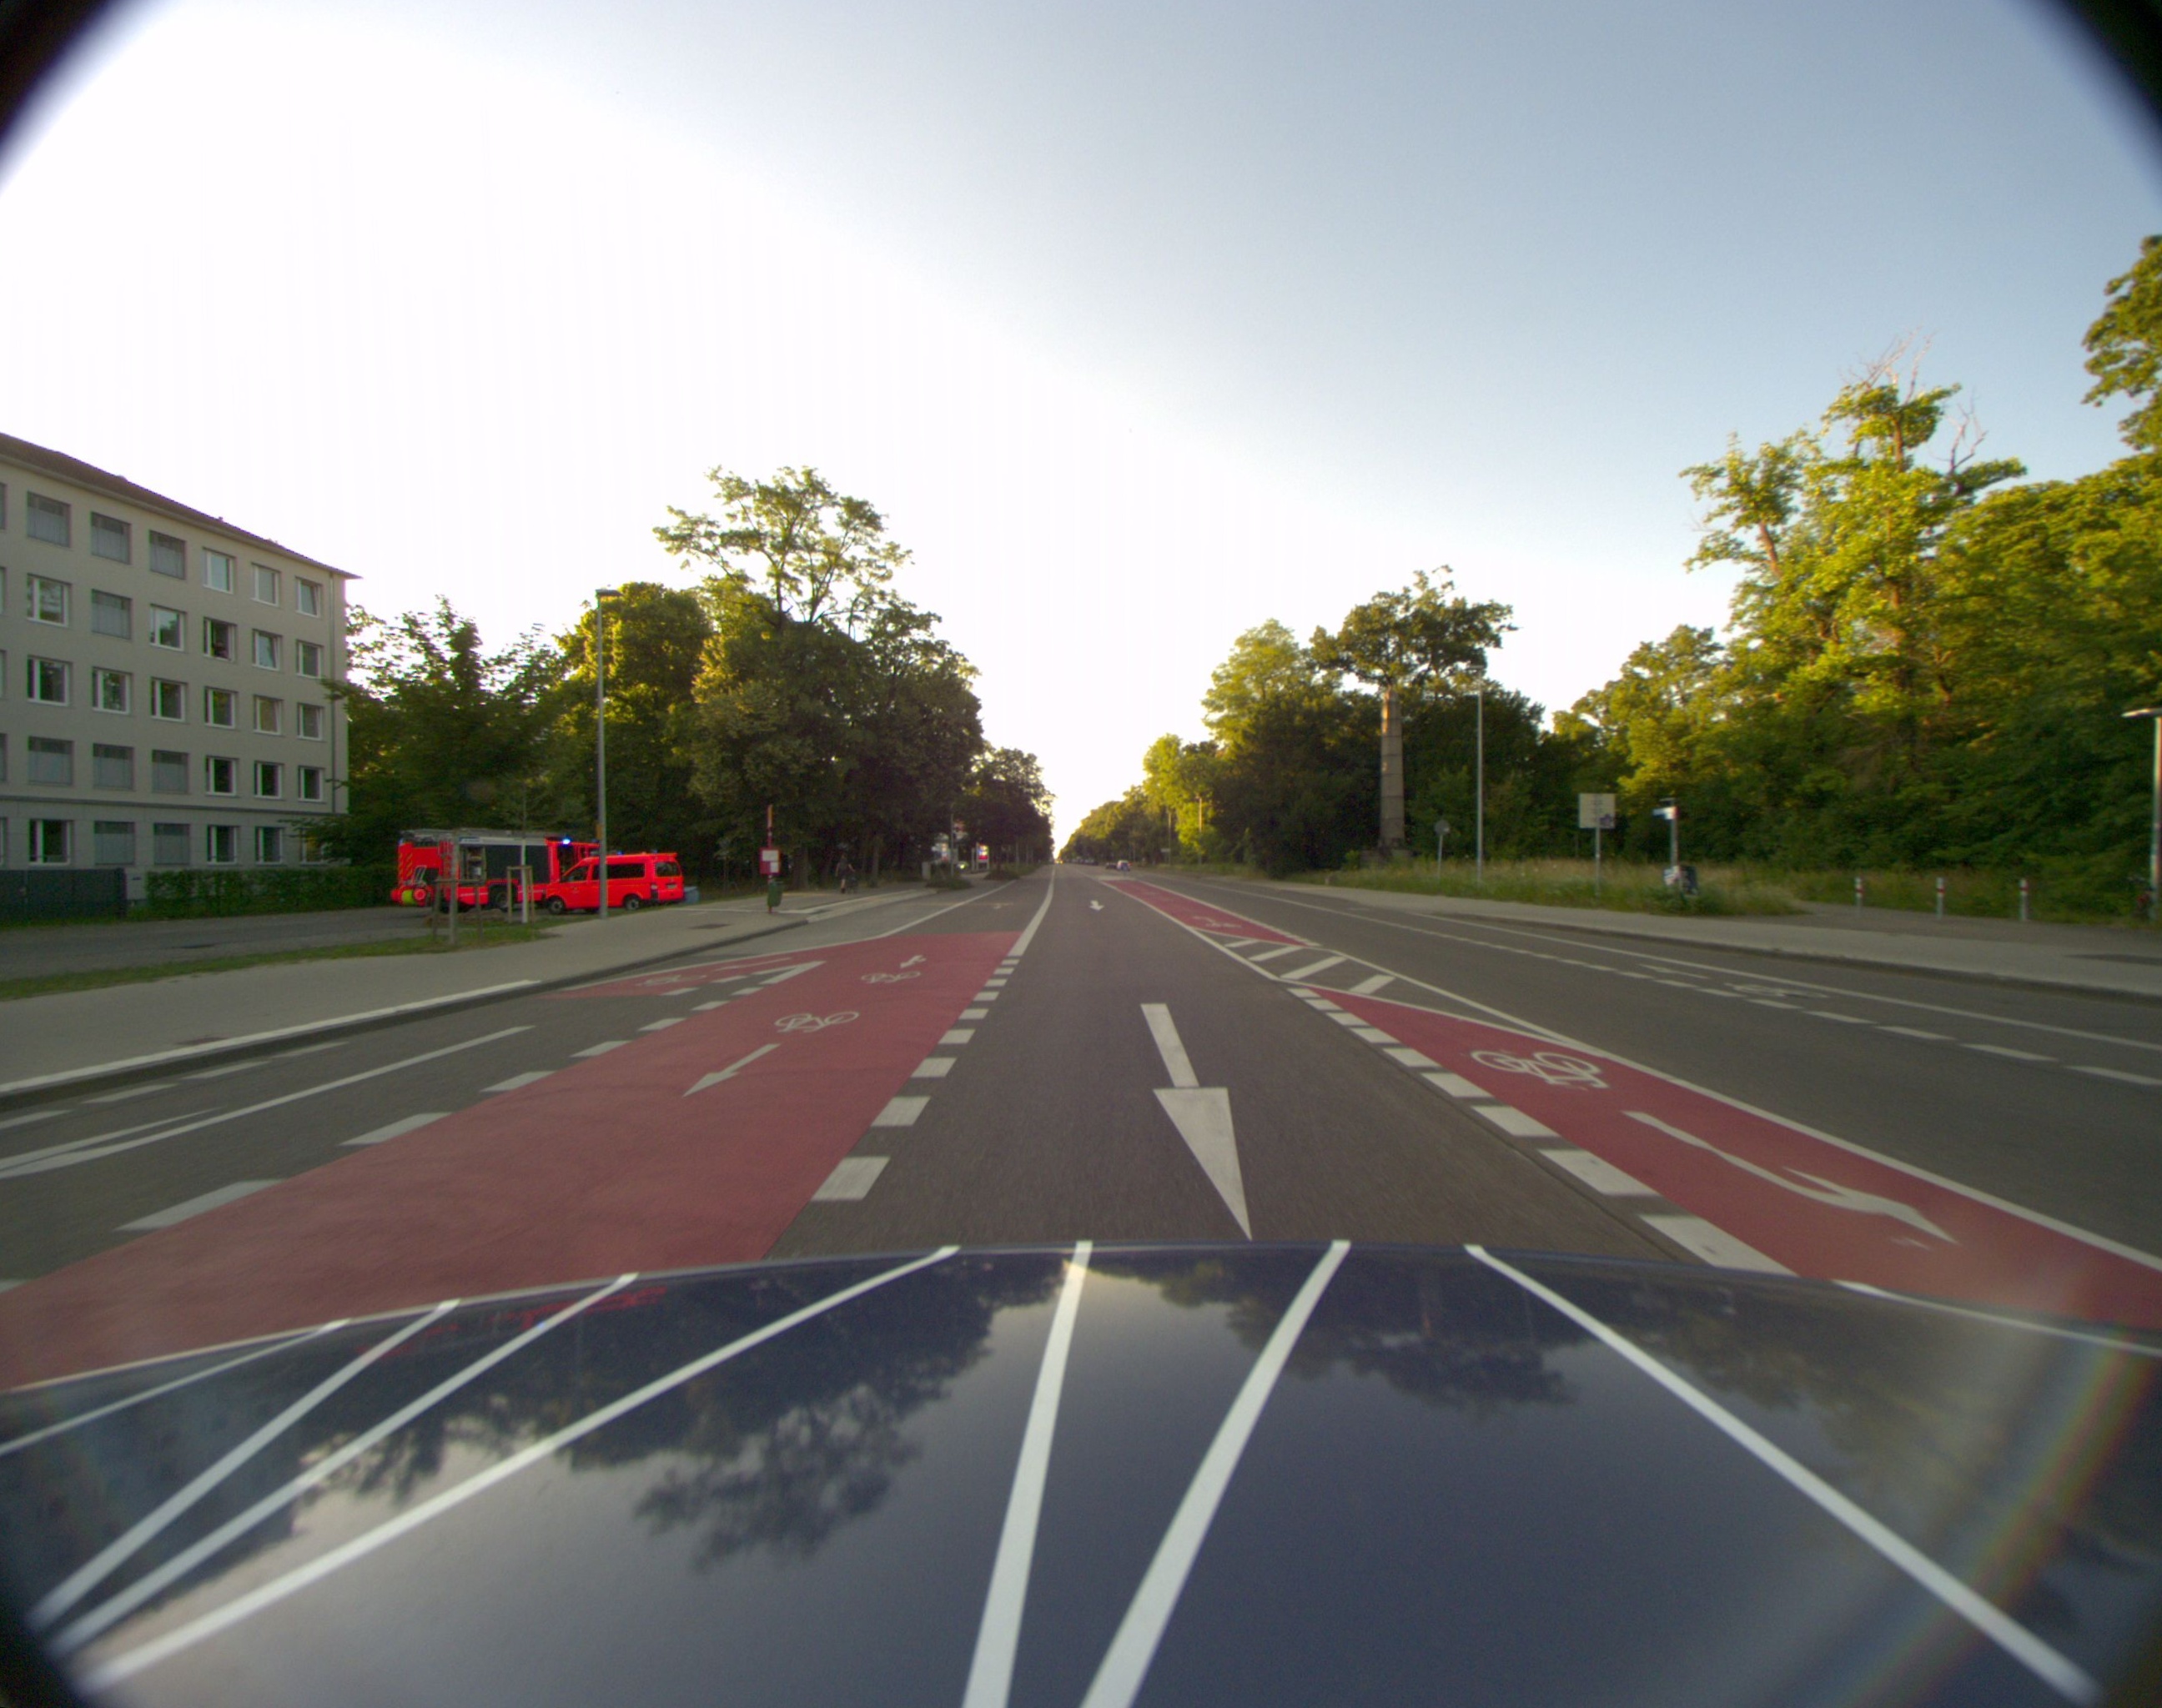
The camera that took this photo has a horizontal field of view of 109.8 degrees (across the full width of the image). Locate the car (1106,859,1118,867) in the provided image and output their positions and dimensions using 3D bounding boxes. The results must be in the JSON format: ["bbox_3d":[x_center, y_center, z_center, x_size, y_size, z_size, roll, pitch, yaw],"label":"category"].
[{"bbox_3d":[5.216,1.428,127.387,1.754,1.299,3.999,0,0,-1],"label":"car"}]

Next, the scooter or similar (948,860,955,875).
[{"bbox_3d":[-11.043,1.171,64.779,0.483,1.274,1.230,1,0,-7],"label":"scooter or similar"}]

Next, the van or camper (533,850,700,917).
[{"bbox_3d":[-17.100,1.063,28.124,4.822,2.231,2.296,-2,0,8],"label":"van or camper"}]

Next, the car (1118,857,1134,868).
[{"bbox_3d":[6.490,1.247,108.905,1.851,1.406,4.179,-3,0,-2],"label":"car"}]

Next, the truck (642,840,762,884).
[{"bbox_3d":[-28.765,0.602,57.680,8.645,3.192,2.765,-1,0,18],"label":"truck"}]

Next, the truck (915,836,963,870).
[{"bbox_3d":[-17.126,-0.074,93.108,3.227,3.707,15.882,-2,0,-2],"label":"truck"}]

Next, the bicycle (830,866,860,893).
[{"bbox_3d":[-10.496,1.120,33.911,0.833,1.091,1.968,-2,0,-4],"label":"bicycle"}]

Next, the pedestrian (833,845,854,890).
[{"bbox_3d":[-10.608,0.597,33.993,0.725,2.002,0.695,0,1,-1],"label":"pedestrian"}]

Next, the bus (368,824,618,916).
[{"bbox_3d":[-23.162,0.556,30.717,2.993,3.177,7.969,-2,0,9],"label":"bus"}]

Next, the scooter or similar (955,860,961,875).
[{"bbox_3d":[-10.709,1.196,66.312,0.483,1.274,1.139,1,0,-7],"label":"scooter or similar"}]
